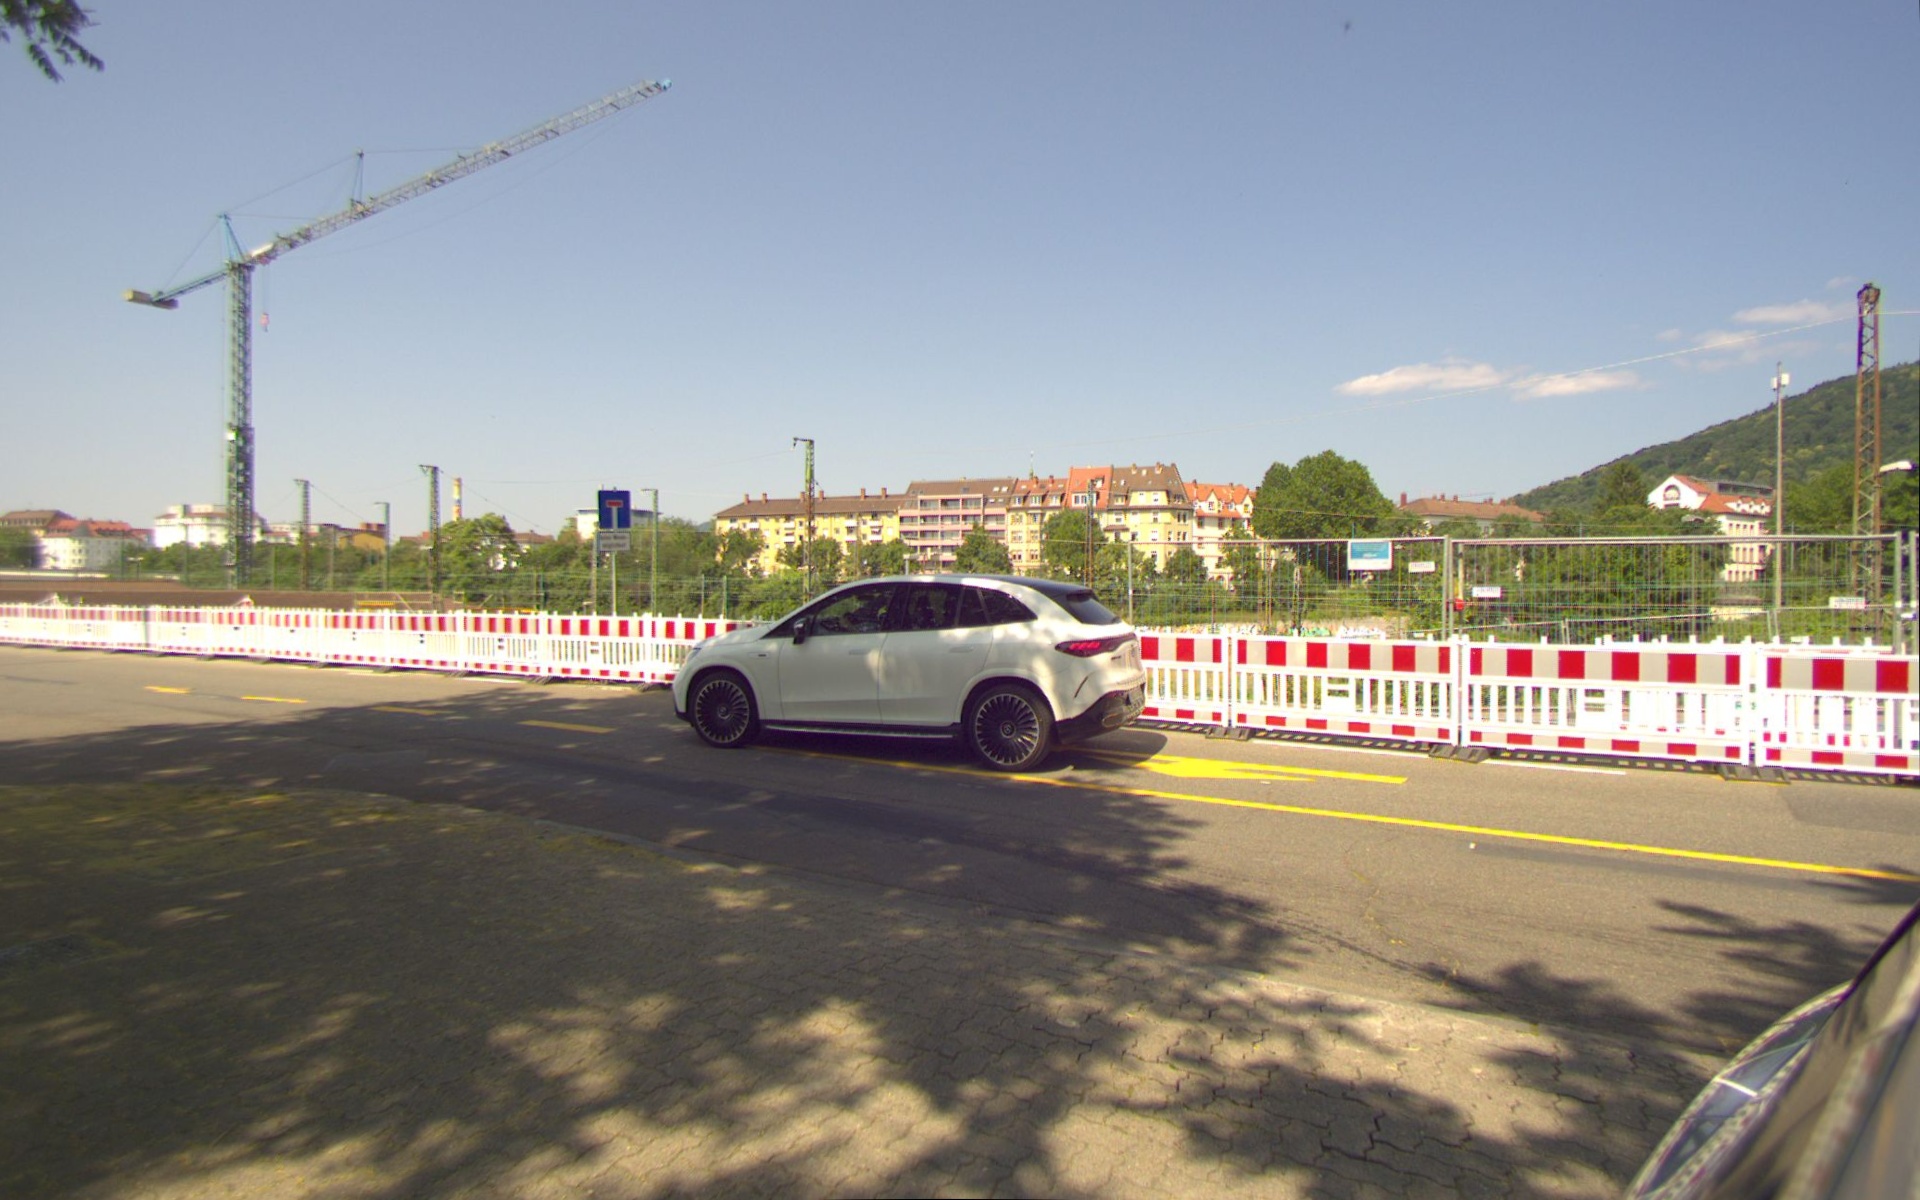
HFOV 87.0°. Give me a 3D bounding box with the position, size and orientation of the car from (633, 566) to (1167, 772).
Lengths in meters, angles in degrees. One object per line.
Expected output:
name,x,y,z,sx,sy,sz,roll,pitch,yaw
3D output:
car,-0.613,0.551,10.073,4.974,1.665,1.985,0,0,23

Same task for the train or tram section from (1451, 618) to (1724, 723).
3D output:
train or tram section,24.947,2.646,40.661,8.935,3.760,2.978,-1,-3,42

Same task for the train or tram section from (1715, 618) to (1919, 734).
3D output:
train or tram section,31.588,2.522,34.677,8.935,3.762,2.978,-1,-3,42
